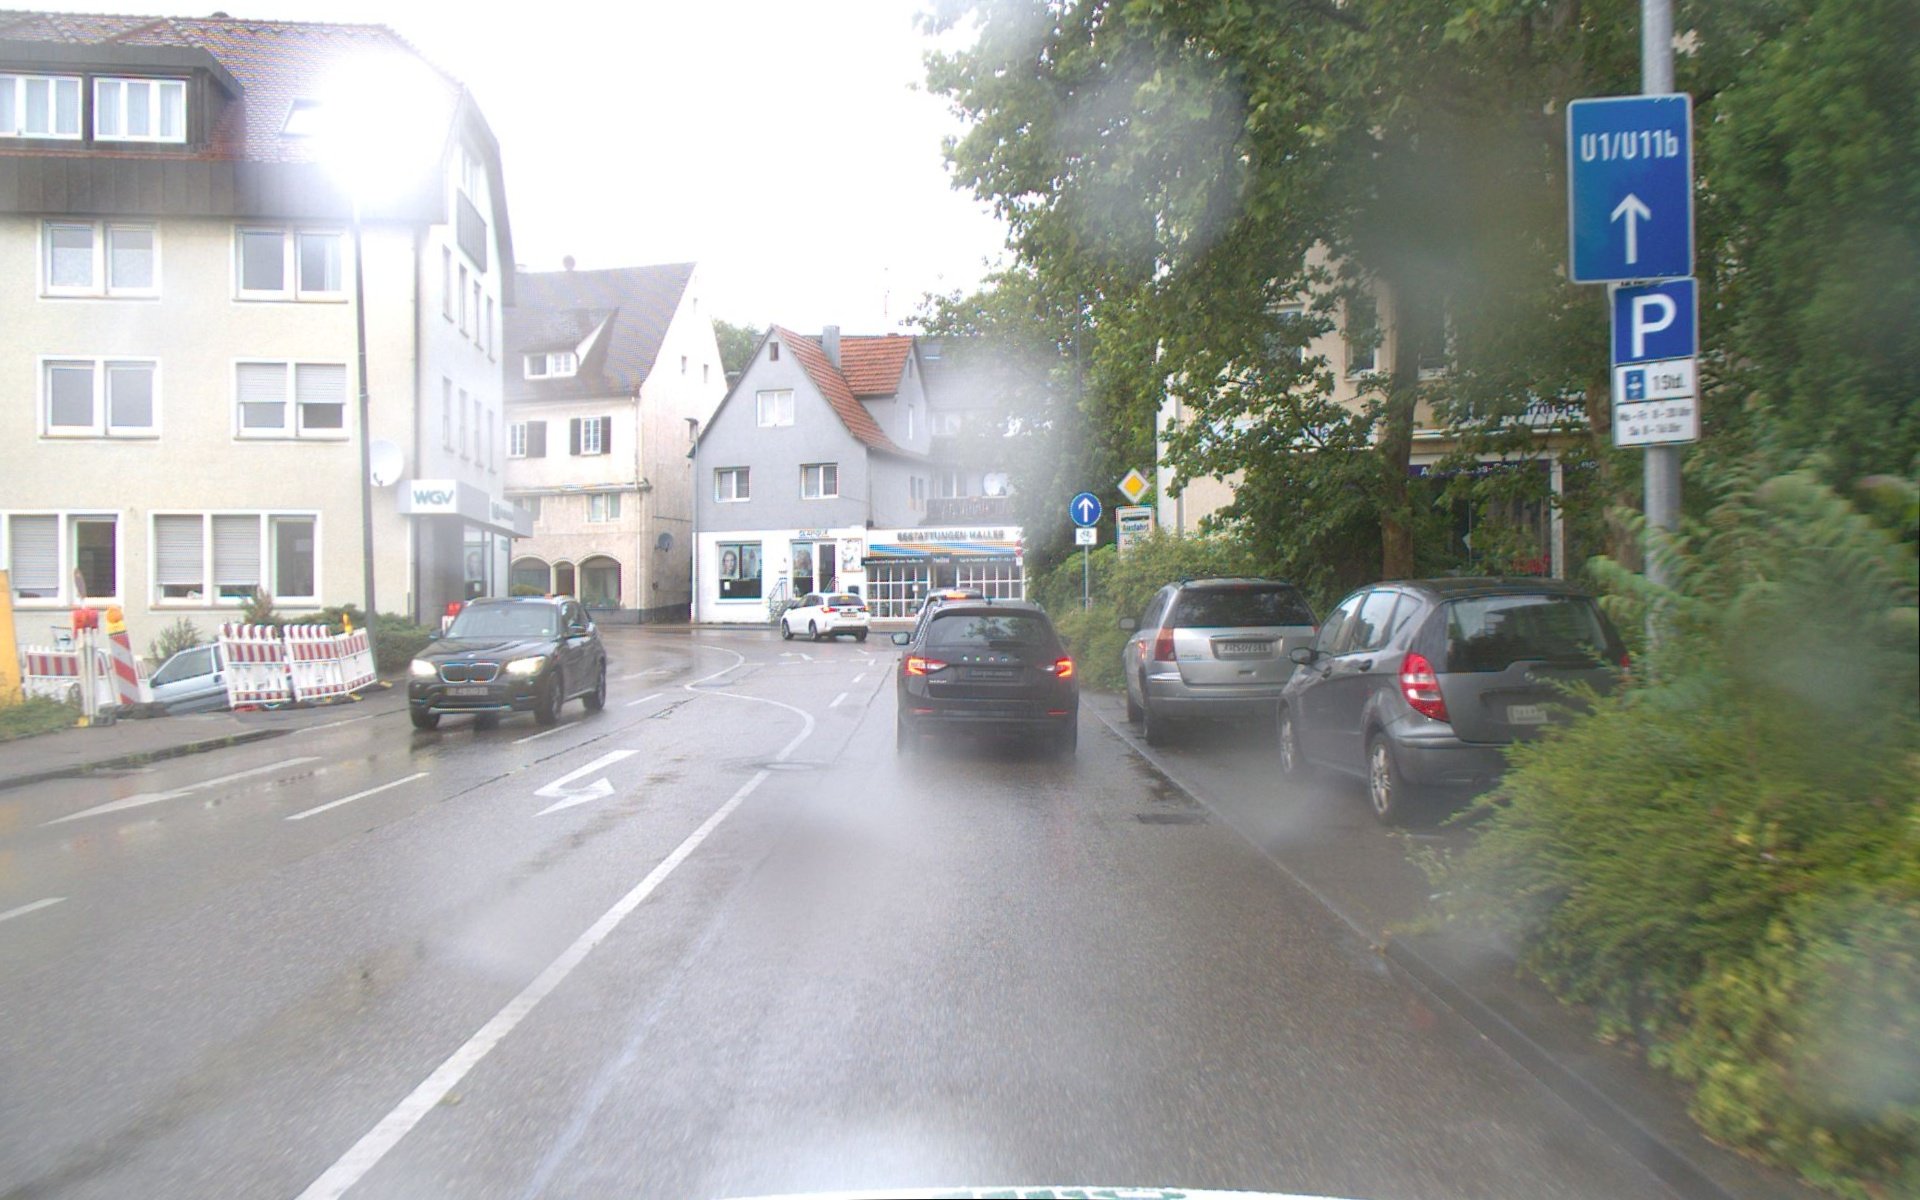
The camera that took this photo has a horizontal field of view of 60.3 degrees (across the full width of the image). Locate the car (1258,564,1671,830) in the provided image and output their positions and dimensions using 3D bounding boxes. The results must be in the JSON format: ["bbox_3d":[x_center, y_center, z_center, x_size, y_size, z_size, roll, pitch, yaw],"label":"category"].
[{"bbox_3d":[3.495,0.585,12.238,1.675,1.600,3.912,-2,1,-3],"label":"car"}]

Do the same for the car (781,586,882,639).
[{"bbox_3d":[-4.050,0.360,51.586,1.763,1.491,4.131,-1,2,-25],"label":"car"}]

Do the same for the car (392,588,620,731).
[{"bbox_3d":[-5.700,0.679,21.307,1.779,1.599,4.275,-2,0,-1],"label":"car"}]

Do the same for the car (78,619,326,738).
[{"bbox_3d":[-13.089,1.320,28.762,3.439,1.413,1.647,-9,3,-10],"label":"car"}]

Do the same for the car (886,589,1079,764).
[{"bbox_3d":[0.114,0.682,17.118,1.697,1.475,4.239,-1,2,-3],"label":"car"}]

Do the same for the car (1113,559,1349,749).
[{"bbox_3d":[2.877,0.504,18.577,1.891,1.811,4.734,-2,1,1],"label":"car"}]

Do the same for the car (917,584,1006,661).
[{"bbox_3d":[0.087,0.460,37.324,1.751,1.543,4.243,-2,1,3],"label":"car"}]
